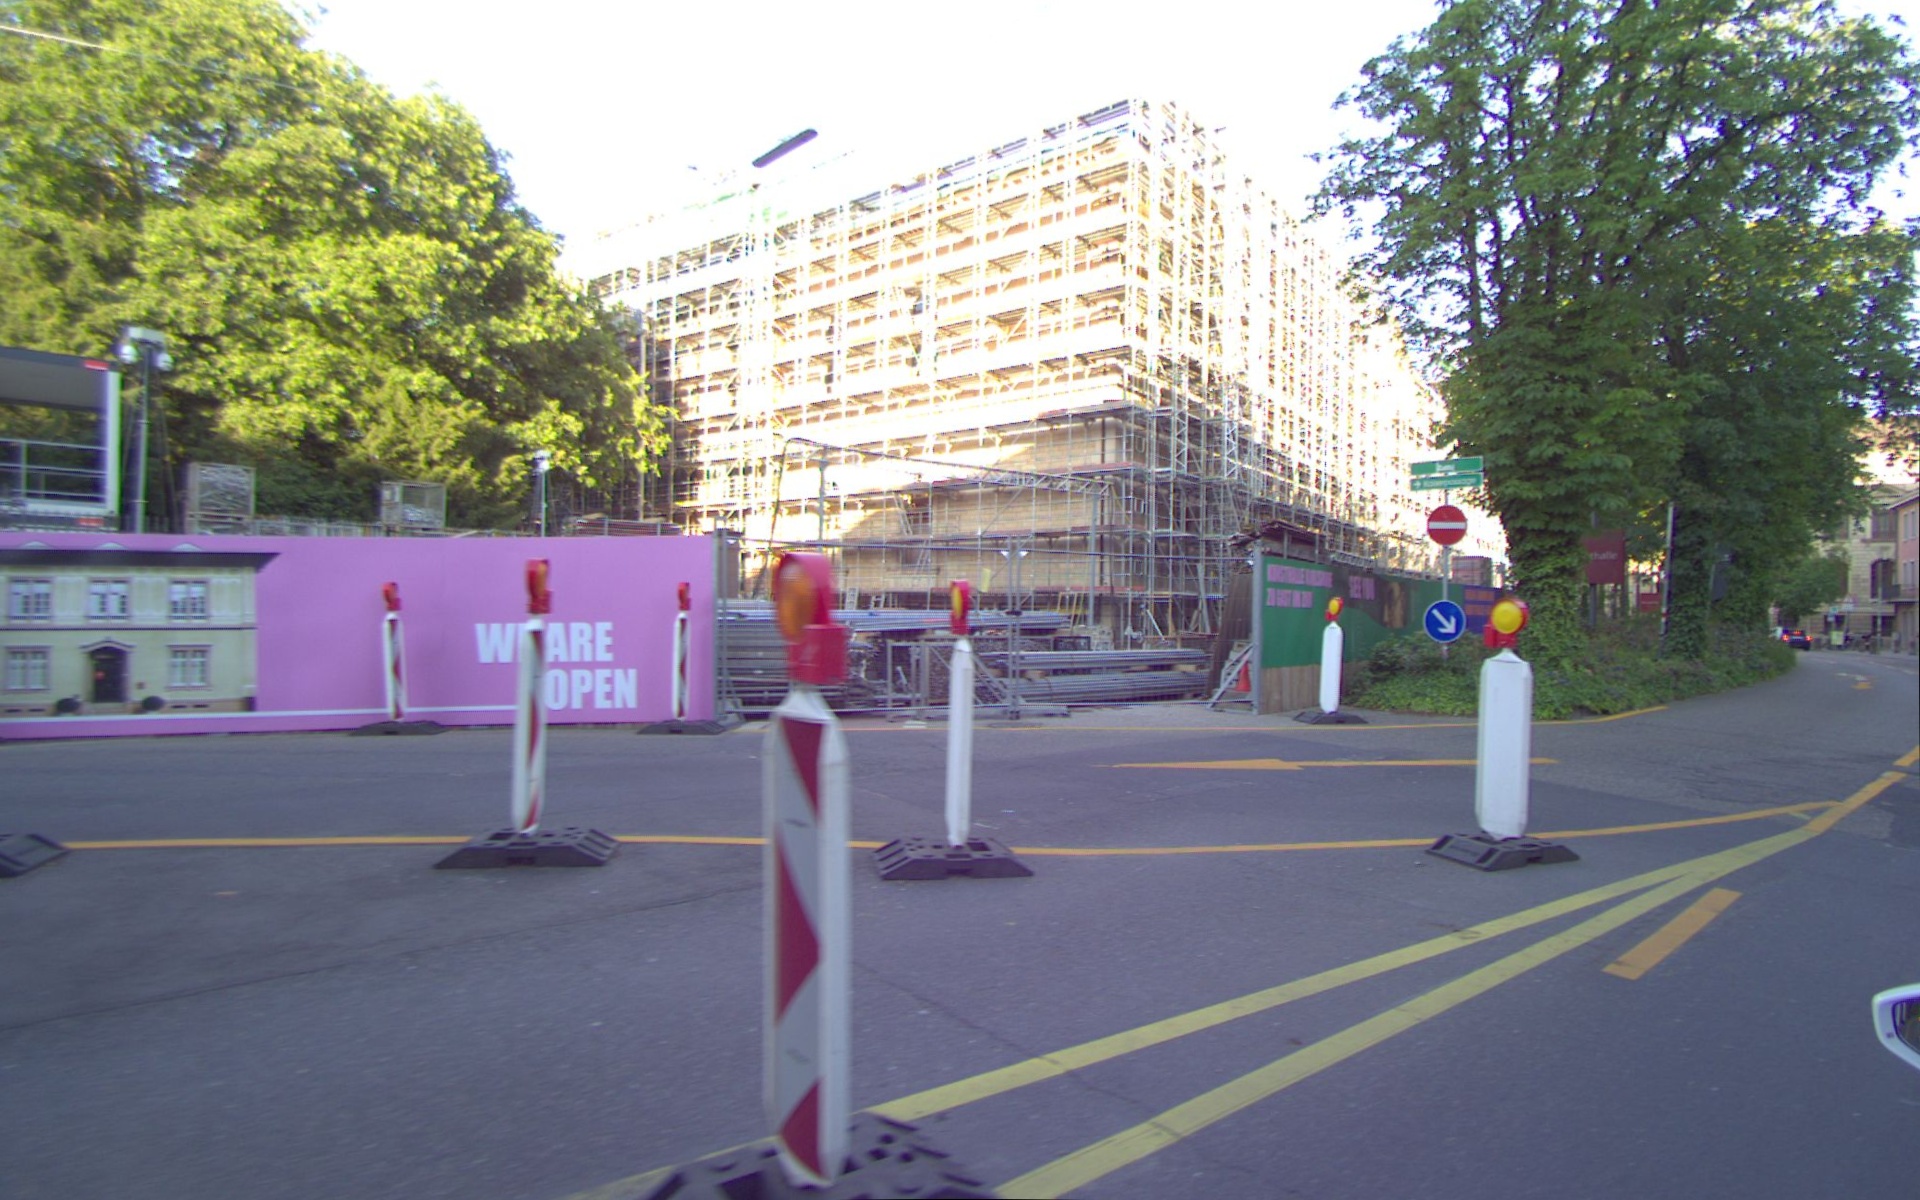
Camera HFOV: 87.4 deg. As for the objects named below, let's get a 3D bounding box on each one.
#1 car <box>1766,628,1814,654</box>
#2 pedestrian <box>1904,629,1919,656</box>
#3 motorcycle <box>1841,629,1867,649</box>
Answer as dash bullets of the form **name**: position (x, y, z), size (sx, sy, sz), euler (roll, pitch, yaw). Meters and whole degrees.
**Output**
- **car**: position (55.186, 2.683, 66.881), size (1.785, 1.581, 3.858), euler (1, 0, 30)
- **pedestrian**: position (57.070, 2.536, 60.181), size (0.659, 1.602, 0.583), euler (1, 0, 38)
- **motorcycle**: position (59.393, 2.578, 66.745), size (1.027, 1.265, 2.390), euler (1, 0, 35)
